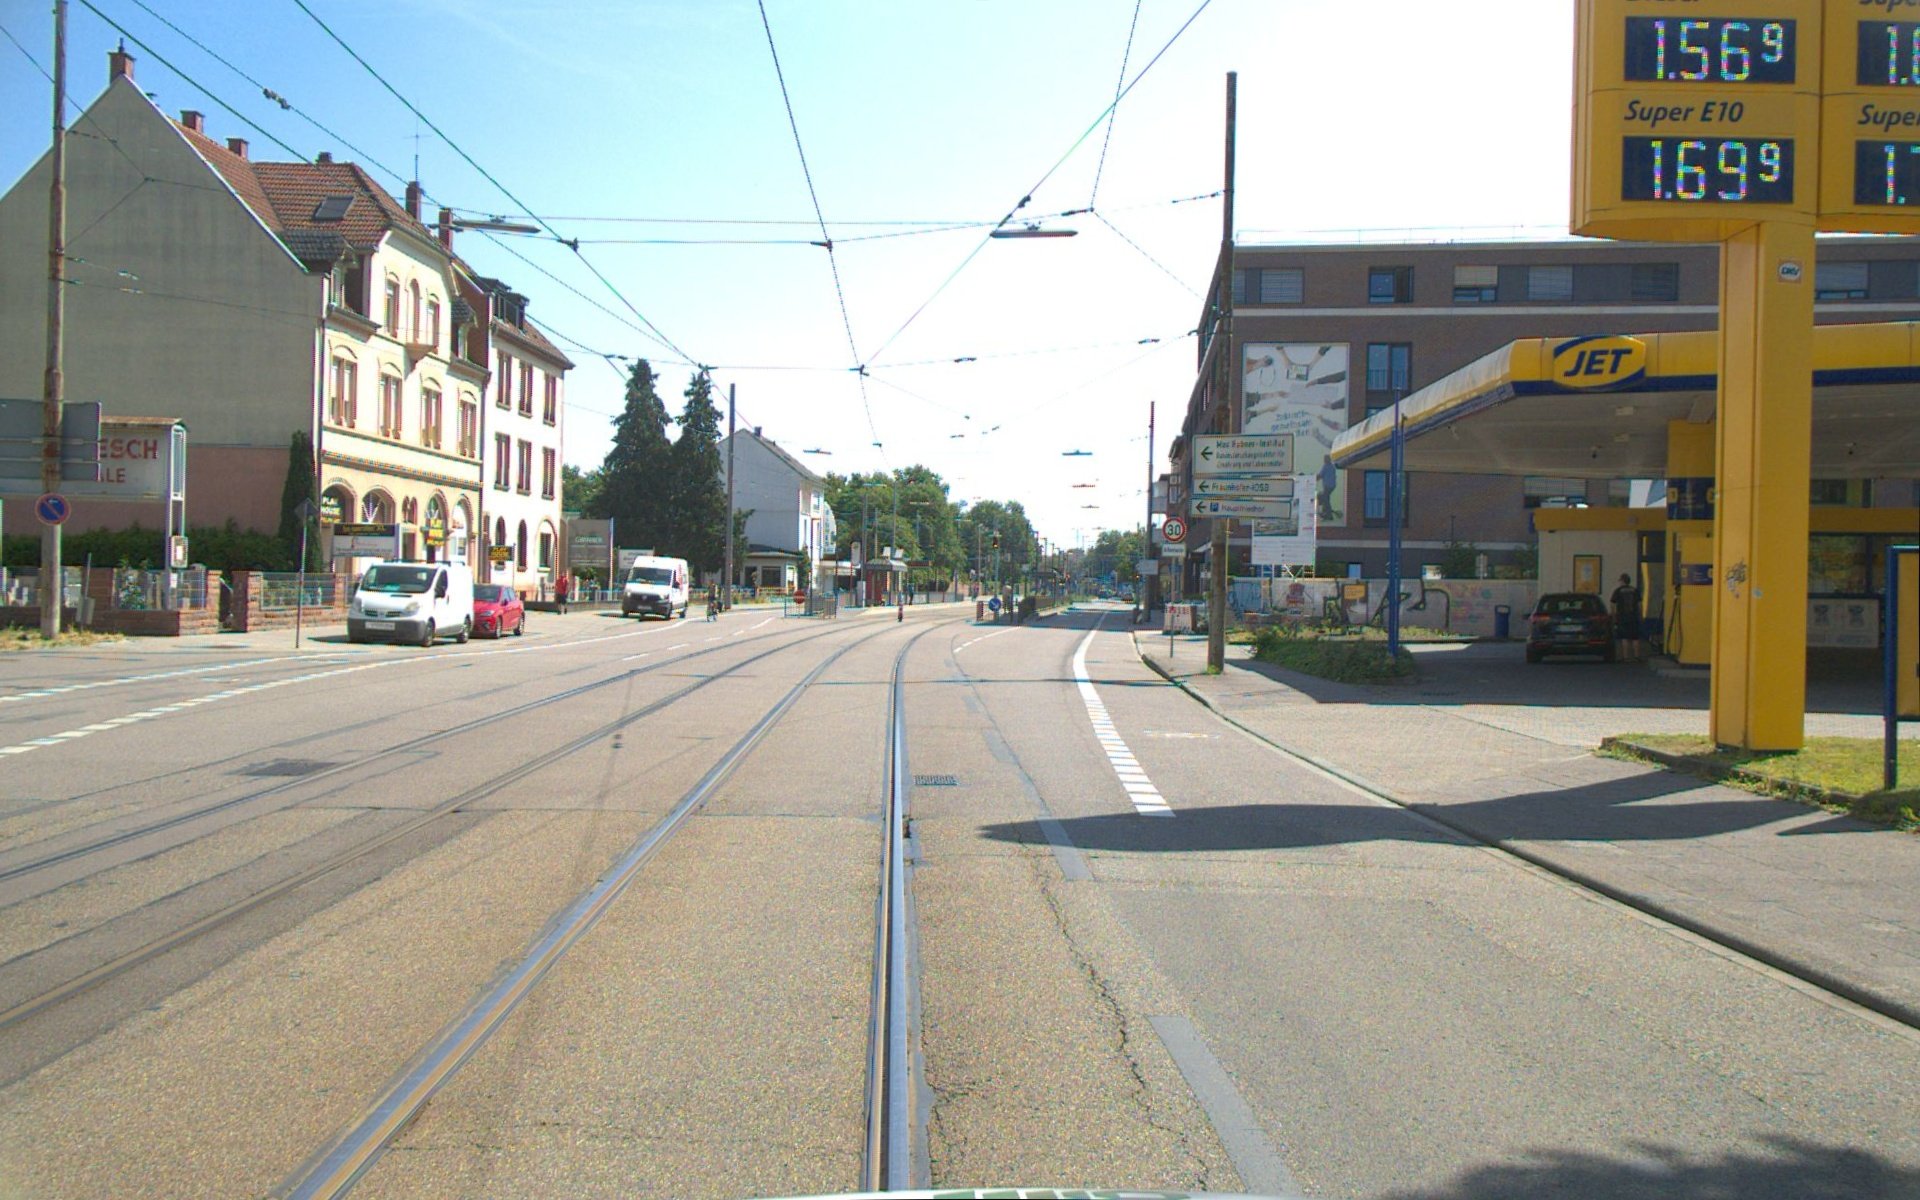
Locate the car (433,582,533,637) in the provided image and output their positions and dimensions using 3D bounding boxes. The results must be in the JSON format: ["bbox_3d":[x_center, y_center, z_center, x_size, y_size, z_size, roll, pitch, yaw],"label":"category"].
[{"bbox_3d":[-13.423,0.230,46.749,1.685,1.430,4.001,1,1,-1],"label":"car"}]

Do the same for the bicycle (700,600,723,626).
[{"bbox_3d":[-10.074,0.524,67.165,0.596,1.001,2.164,1,0,0],"label":"bicycle"}]

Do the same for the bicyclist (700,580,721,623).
[{"bbox_3d":[-10.122,0.056,67.198,0.702,1.754,0.987,1,0,-2],"label":"bicyclist"}]

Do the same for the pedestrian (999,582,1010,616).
[{"bbox_3d":[2.314,-0.048,86.086,0.544,1.791,0.793,0,0,0],"label":"pedestrian"}]

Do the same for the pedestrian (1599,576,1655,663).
[{"bbox_3d":[13.810,0.390,34.243,0.838,1.755,0.745,1,1,1],"label":"pedestrian"}]

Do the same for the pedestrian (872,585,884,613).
[{"bbox_3d":[-5.165,-0.064,104.028,0.691,1.719,0.416,1,0,-2],"label":"pedestrian"}]

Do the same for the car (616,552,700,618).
[{"bbox_3d":[-12.800,-0.627,70.579,2.282,2.579,6.506,3,0,0],"label":"car"}]

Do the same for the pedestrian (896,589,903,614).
[{"bbox_3d":[-4.198,0.130,114.968,0.407,1.719,0.706,1,0,-8],"label":"pedestrian"}]

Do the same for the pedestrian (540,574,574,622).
[{"bbox_3d":[-16.040,-0.083,65.881,0.922,1.847,1.131,1,0,8],"label":"pedestrian"}]

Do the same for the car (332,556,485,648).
[{"bbox_3d":[-13.371,0.033,40.462,2.041,2.049,4.908,2,0,0],"label":"car"}]

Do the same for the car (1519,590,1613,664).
[{"bbox_3d":[13.175,0.528,35.810,1.720,1.481,4.408,1,0,23],"label":"car"}]
